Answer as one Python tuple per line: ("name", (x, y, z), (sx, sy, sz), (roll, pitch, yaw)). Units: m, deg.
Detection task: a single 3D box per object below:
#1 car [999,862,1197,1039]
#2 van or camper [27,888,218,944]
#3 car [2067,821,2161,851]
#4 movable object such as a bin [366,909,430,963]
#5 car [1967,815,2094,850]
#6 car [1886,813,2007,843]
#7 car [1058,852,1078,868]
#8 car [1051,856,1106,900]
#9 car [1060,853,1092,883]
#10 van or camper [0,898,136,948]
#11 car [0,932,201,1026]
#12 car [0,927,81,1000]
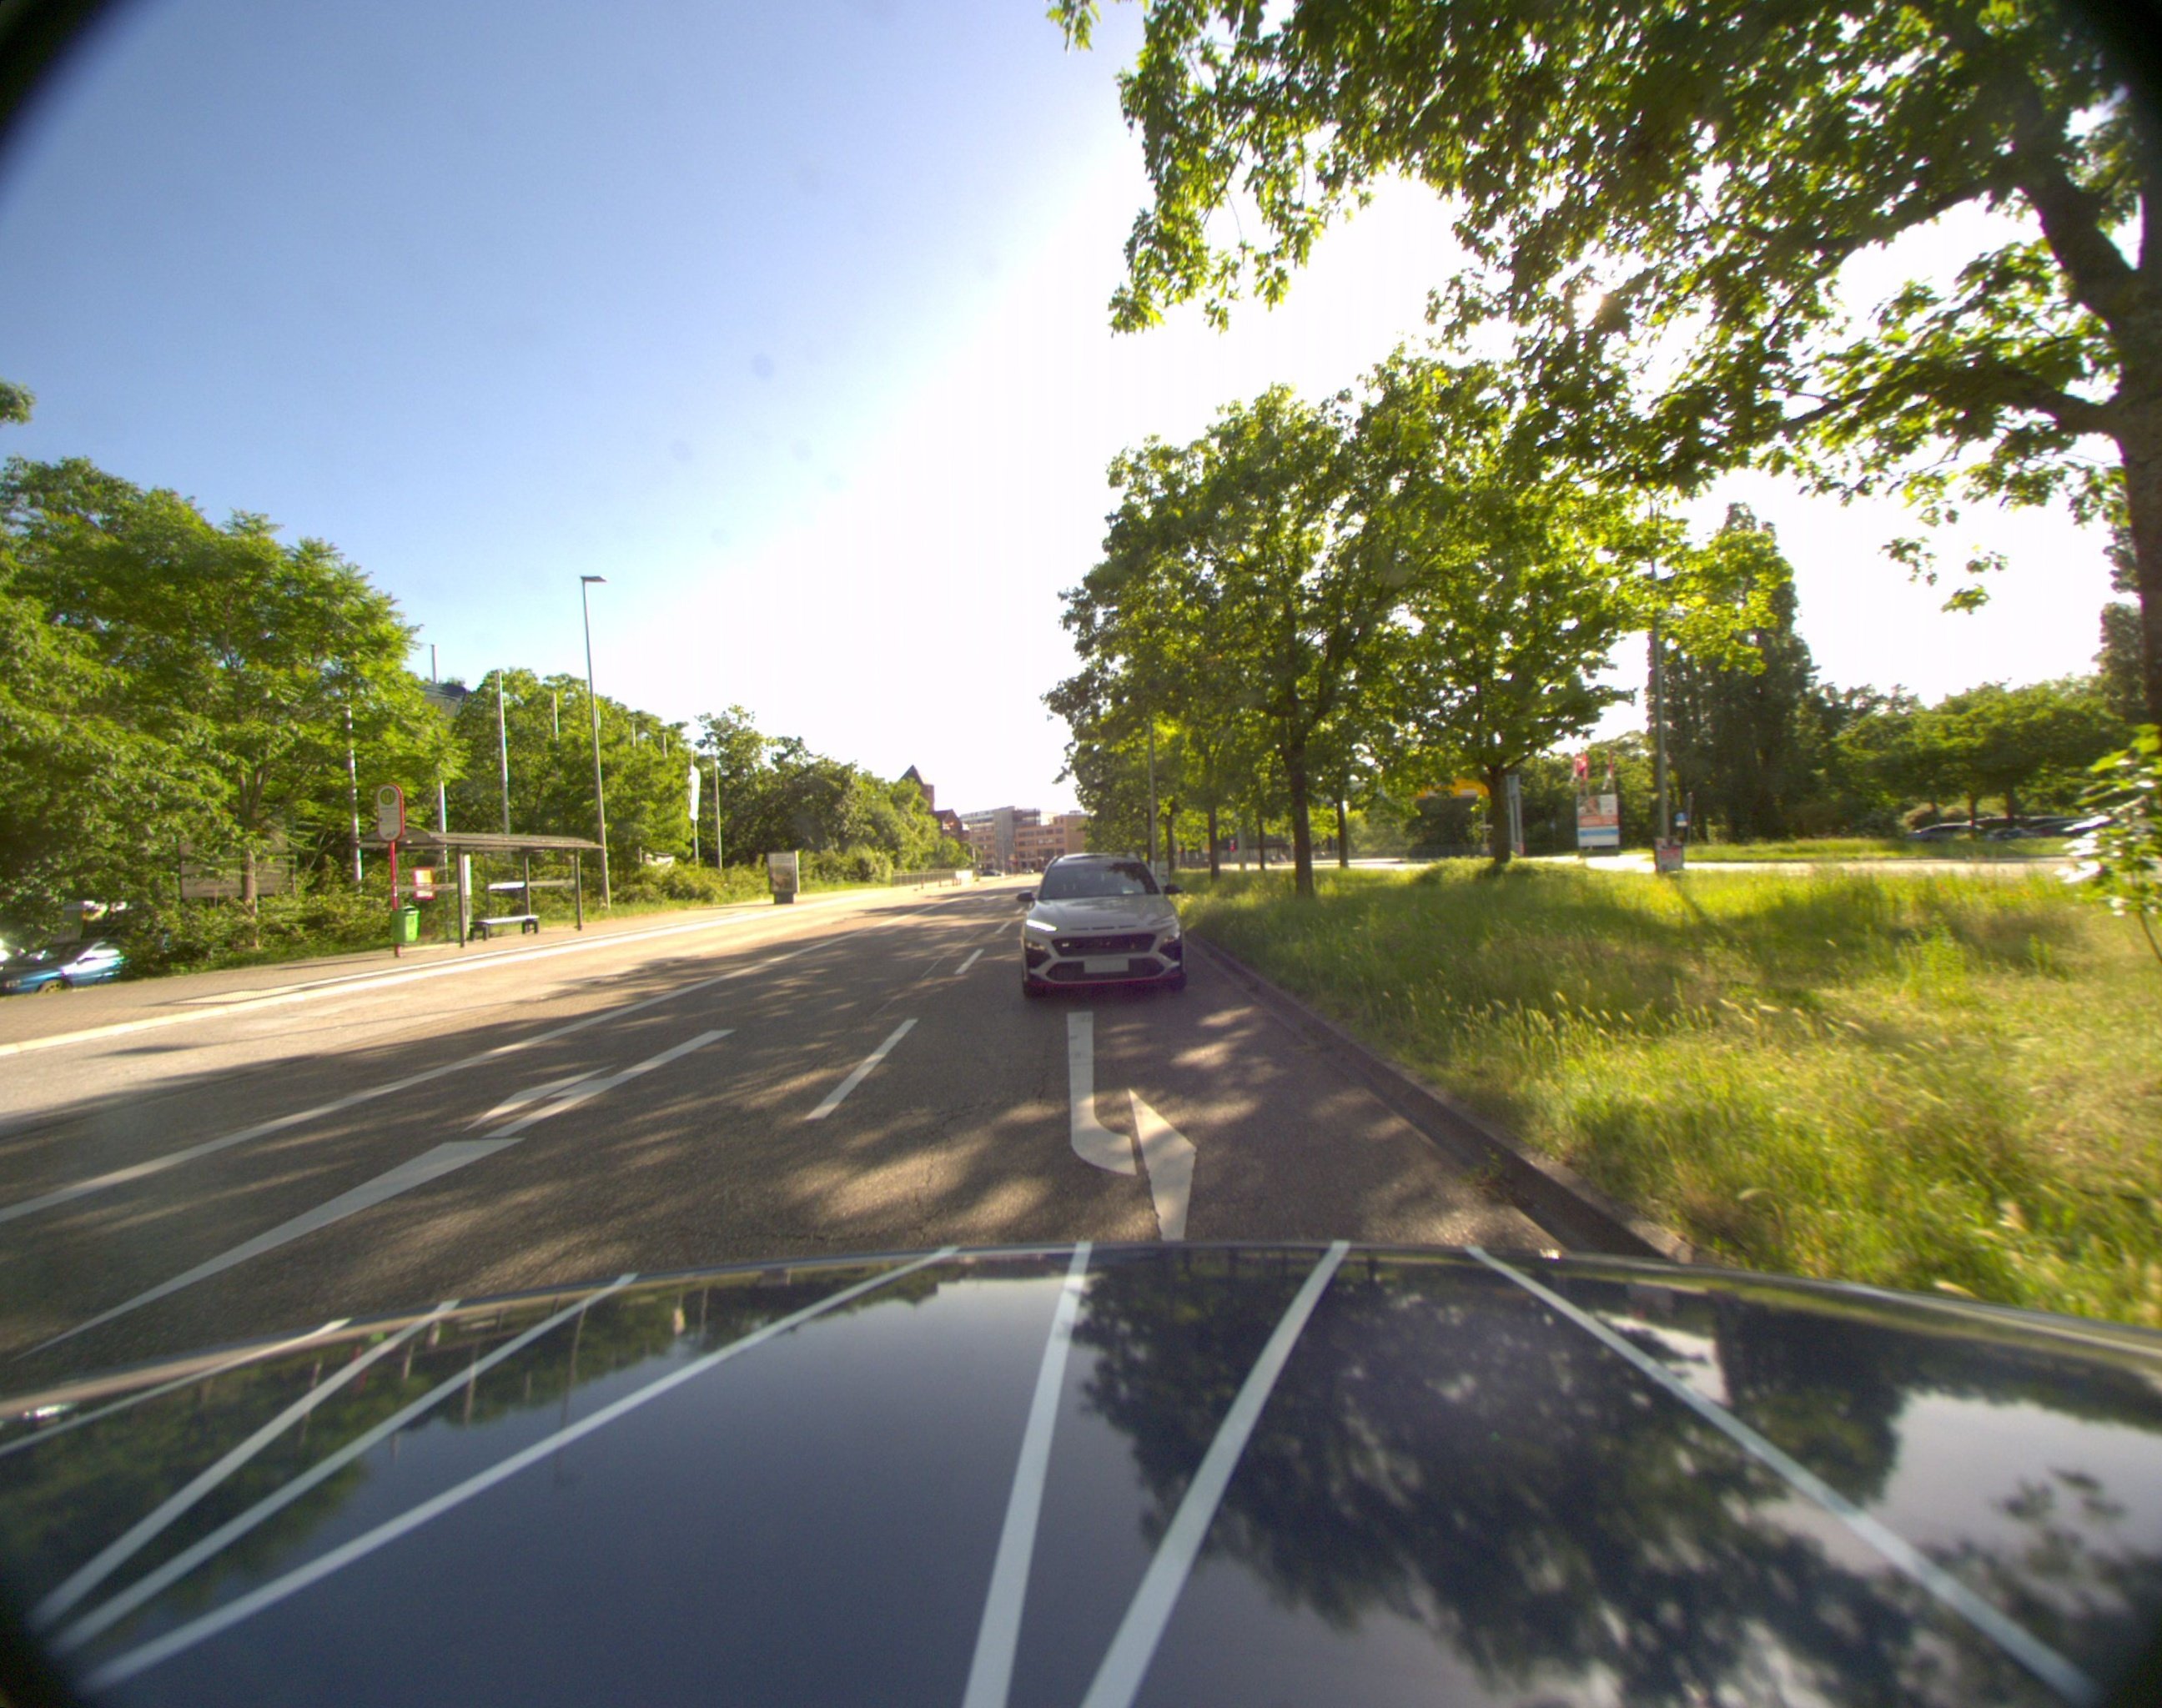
("car", (0.202, 0.933, 9.106), (1.780, 1.542, 3.980), (-3, 0, 1))
("van or camper", (-44.796, 2.814, 35.800), (2.458, 2.146, 5.325), (-3, 0, -6))
("car", (44.067, -0.765, 31.187), (1.822, 1.122, 3.998), (-3, 0, -7))
("movable object such as a bin", (-13.968, 1.668, 15.559), (0.728, 1.024, 0.578), (-3, 0, -1))
("car", (44.549, -0.974, 35.793), (1.818, 1.439, 4.005), (-3, 0, 19))
("car", (52.979, -1.562, 46.602), (2.003, 1.455, 4.547), (-5, 1, -30))
("car", (-1.707, 0.774, 99.397), (1.746, 1.537, 4.000), (-2, -7, -13))
("car", (-0.038, 0.874, 29.524), (1.744, 1.539, 4.001), (-3, 0, 4))
("car", (-0.308, 0.762, 42.543), (1.678, 1.499, 3.948), (-3, 0, -1))
("van or camper", (-48.525, 3.208, 35.401), (2.458, 1.902, 5.325), (-3, 0, -5))
("car", (-23.905, 2.891, 18.003), (1.766, 1.628, 3.613), (-3, 0, 1))
("car", (-27.159, 2.795, 17.954), (1.609, 1.654, 4.000), (-4, 0, 1))
